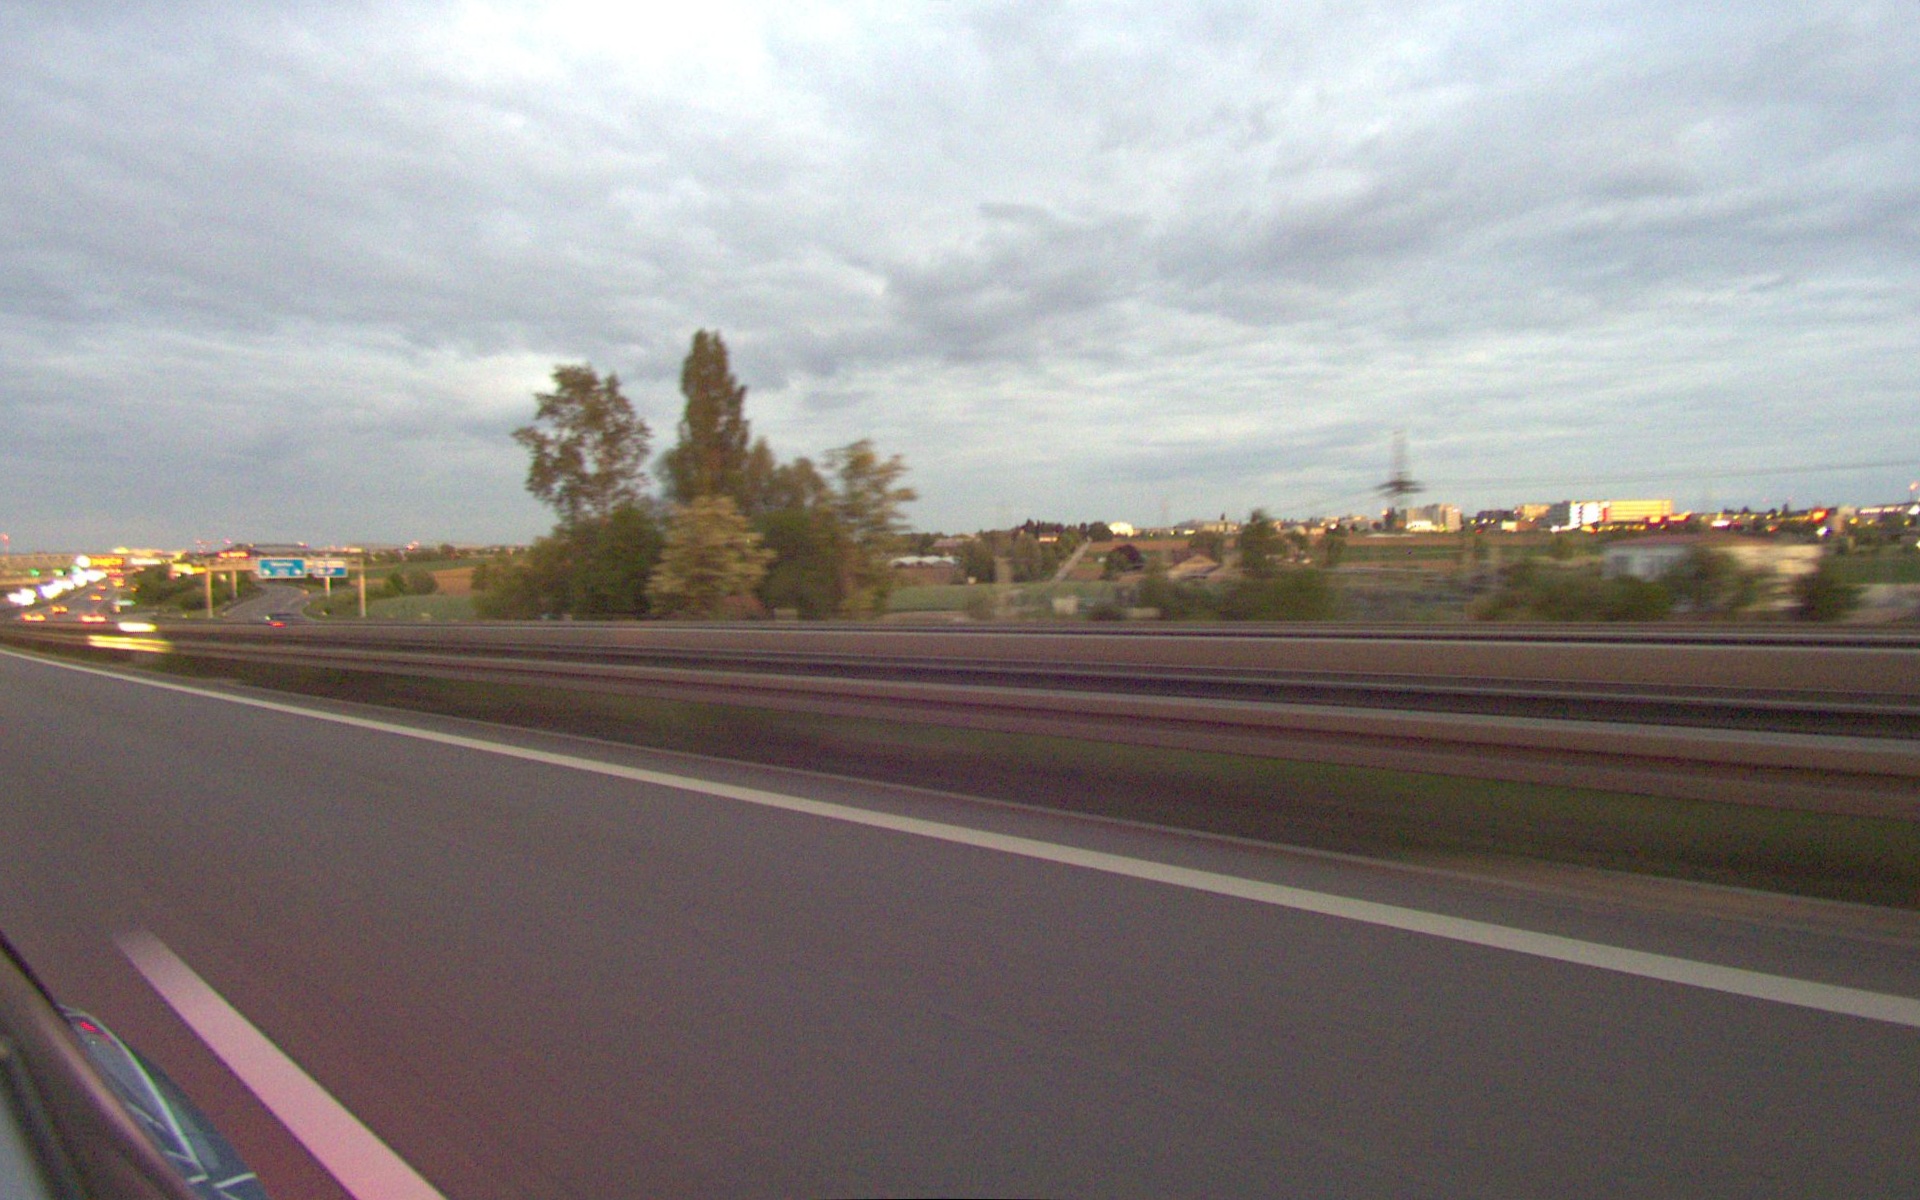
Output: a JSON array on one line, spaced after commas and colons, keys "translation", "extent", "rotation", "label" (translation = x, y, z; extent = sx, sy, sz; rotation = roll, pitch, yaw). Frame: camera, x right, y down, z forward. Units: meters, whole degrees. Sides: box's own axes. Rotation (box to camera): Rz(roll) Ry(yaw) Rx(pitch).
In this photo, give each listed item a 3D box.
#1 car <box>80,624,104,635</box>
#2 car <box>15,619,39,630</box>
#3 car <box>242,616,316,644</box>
[{"translation": [-101.417, 3.409, 118.280], "extent": [4.183, 1.236, 1.703], "rotation": [-1, -1, 43], "label": "car"}, {"translation": [-124.325, 3.305, 134.893], "extent": [4.328, 1.414, 1.972], "rotation": [-1, -1, 42], "label": "car"}, {"translation": [-36.999, 1.633, 54.921], "extent": [4.792, 1.414, 1.974], "rotation": [-1, -1, 38], "label": "car"}]
